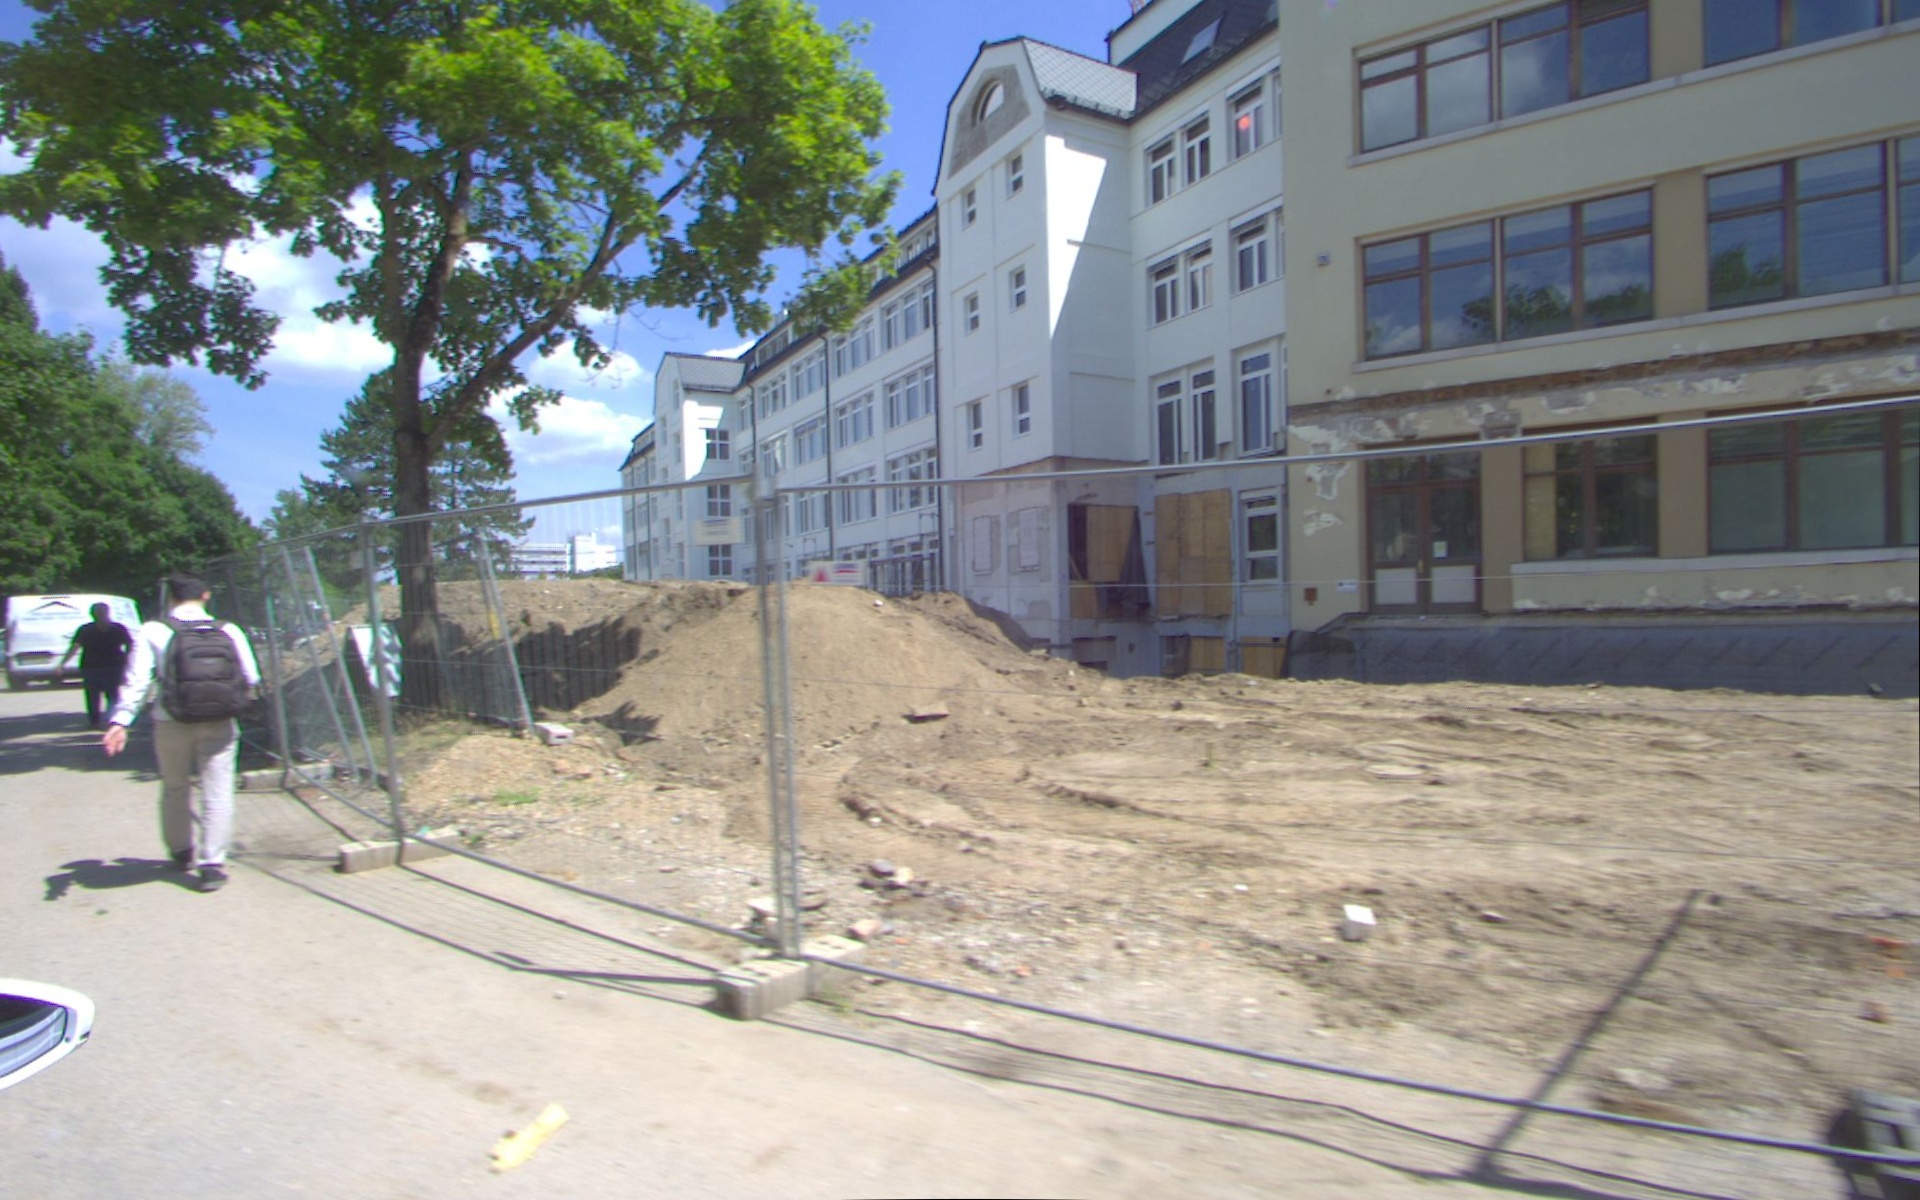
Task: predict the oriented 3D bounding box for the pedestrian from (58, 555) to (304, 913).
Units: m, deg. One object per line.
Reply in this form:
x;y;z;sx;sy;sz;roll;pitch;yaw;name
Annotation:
-4.335;0.658;5.571;1.067;1.752;0.869;0;1;41;pedestrian

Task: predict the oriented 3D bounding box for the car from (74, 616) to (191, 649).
-43.039;1.674;52.207;4.457;1.618;1.716;0;-1;-31;car

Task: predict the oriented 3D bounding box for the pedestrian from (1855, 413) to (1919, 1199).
2.358;0.540;1.680;0.949;1.843;0.870;-1;0;9;pedestrian

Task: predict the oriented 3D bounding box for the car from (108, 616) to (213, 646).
-45.303;1.740;56.854;4.457;1.568;1.716;0;0;-31;car

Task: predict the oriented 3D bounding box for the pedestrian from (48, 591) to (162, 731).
-10.801;0.730;12.703;1.026;1.672;1.041;-1;1;-38;pedestrian

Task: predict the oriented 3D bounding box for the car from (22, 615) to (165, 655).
-37.766;1.493;43.803;4.457;1.619;1.716;0;0;-31;car

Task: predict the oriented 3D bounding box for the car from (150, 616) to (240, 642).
-50.135;1.875;65.744;4.457;1.619;1.716;-1;0;-31;car

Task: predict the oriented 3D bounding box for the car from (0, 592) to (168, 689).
-19.939;0.865;22.945;1.949;1.972;4.560;-1;0;-28;car

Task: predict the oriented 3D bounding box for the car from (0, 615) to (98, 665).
-32.599;1.362;34.264;4.457;1.619;1.716;0;0;-31;car
